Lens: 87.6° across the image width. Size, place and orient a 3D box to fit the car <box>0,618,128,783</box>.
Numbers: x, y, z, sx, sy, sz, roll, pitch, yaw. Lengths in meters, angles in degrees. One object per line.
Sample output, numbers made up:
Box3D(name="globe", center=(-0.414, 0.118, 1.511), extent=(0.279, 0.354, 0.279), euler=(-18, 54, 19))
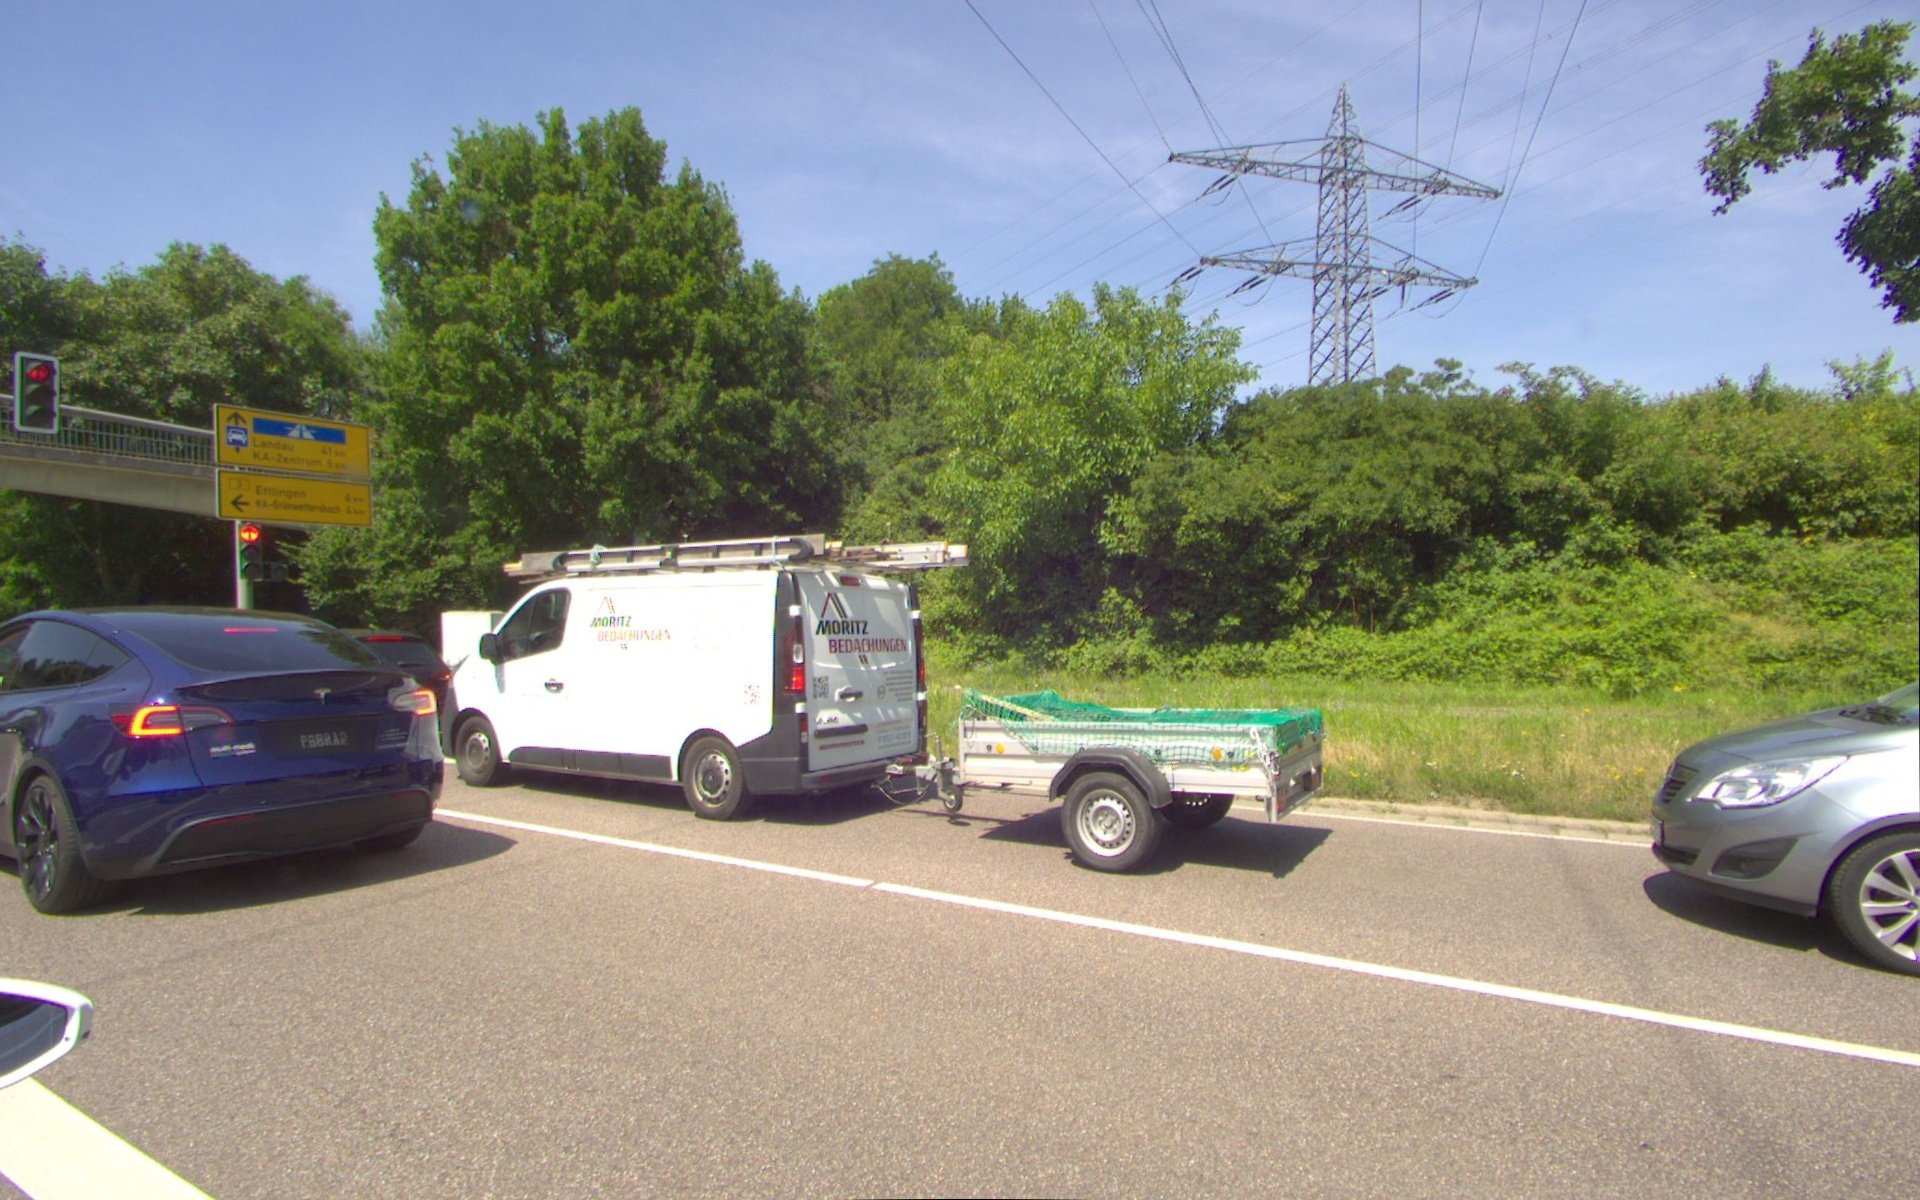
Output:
Box3D(name="car", center=(-10.347, 0.929, 10.105), extent=(3.882, 1.497, 1.897), euler=(-1, -2, 32))

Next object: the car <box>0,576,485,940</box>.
Box3D(name="car", center=(-5.329, 0.772, 6.599), extent=(4.455, 1.665, 1.897), euler=(-1, -1, 32))

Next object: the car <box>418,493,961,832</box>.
Box3D(name="car", center=(-2.613, 0.492, 9.180), extent=(5.002, 2.379, 1.929), euler=(-1, -1, 32))

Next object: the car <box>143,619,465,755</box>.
Box3D(name="car", center=(-8.586, 1.007, 13.020), extent=(4.318, 1.497, 1.897), euler=(-1, -2, 32))

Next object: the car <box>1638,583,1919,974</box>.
Box3D(name="car", center=(5.408, 0.733, 4.260), extent=(4.105, 1.616, 1.761), euler=(-1, 0, 32))

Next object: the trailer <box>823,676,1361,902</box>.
Box3D(name="trailer", center=(0.868, 1.117, 6.879), extent=(3.276, 1.019, 1.703), euler=(-1, -1, 32))
